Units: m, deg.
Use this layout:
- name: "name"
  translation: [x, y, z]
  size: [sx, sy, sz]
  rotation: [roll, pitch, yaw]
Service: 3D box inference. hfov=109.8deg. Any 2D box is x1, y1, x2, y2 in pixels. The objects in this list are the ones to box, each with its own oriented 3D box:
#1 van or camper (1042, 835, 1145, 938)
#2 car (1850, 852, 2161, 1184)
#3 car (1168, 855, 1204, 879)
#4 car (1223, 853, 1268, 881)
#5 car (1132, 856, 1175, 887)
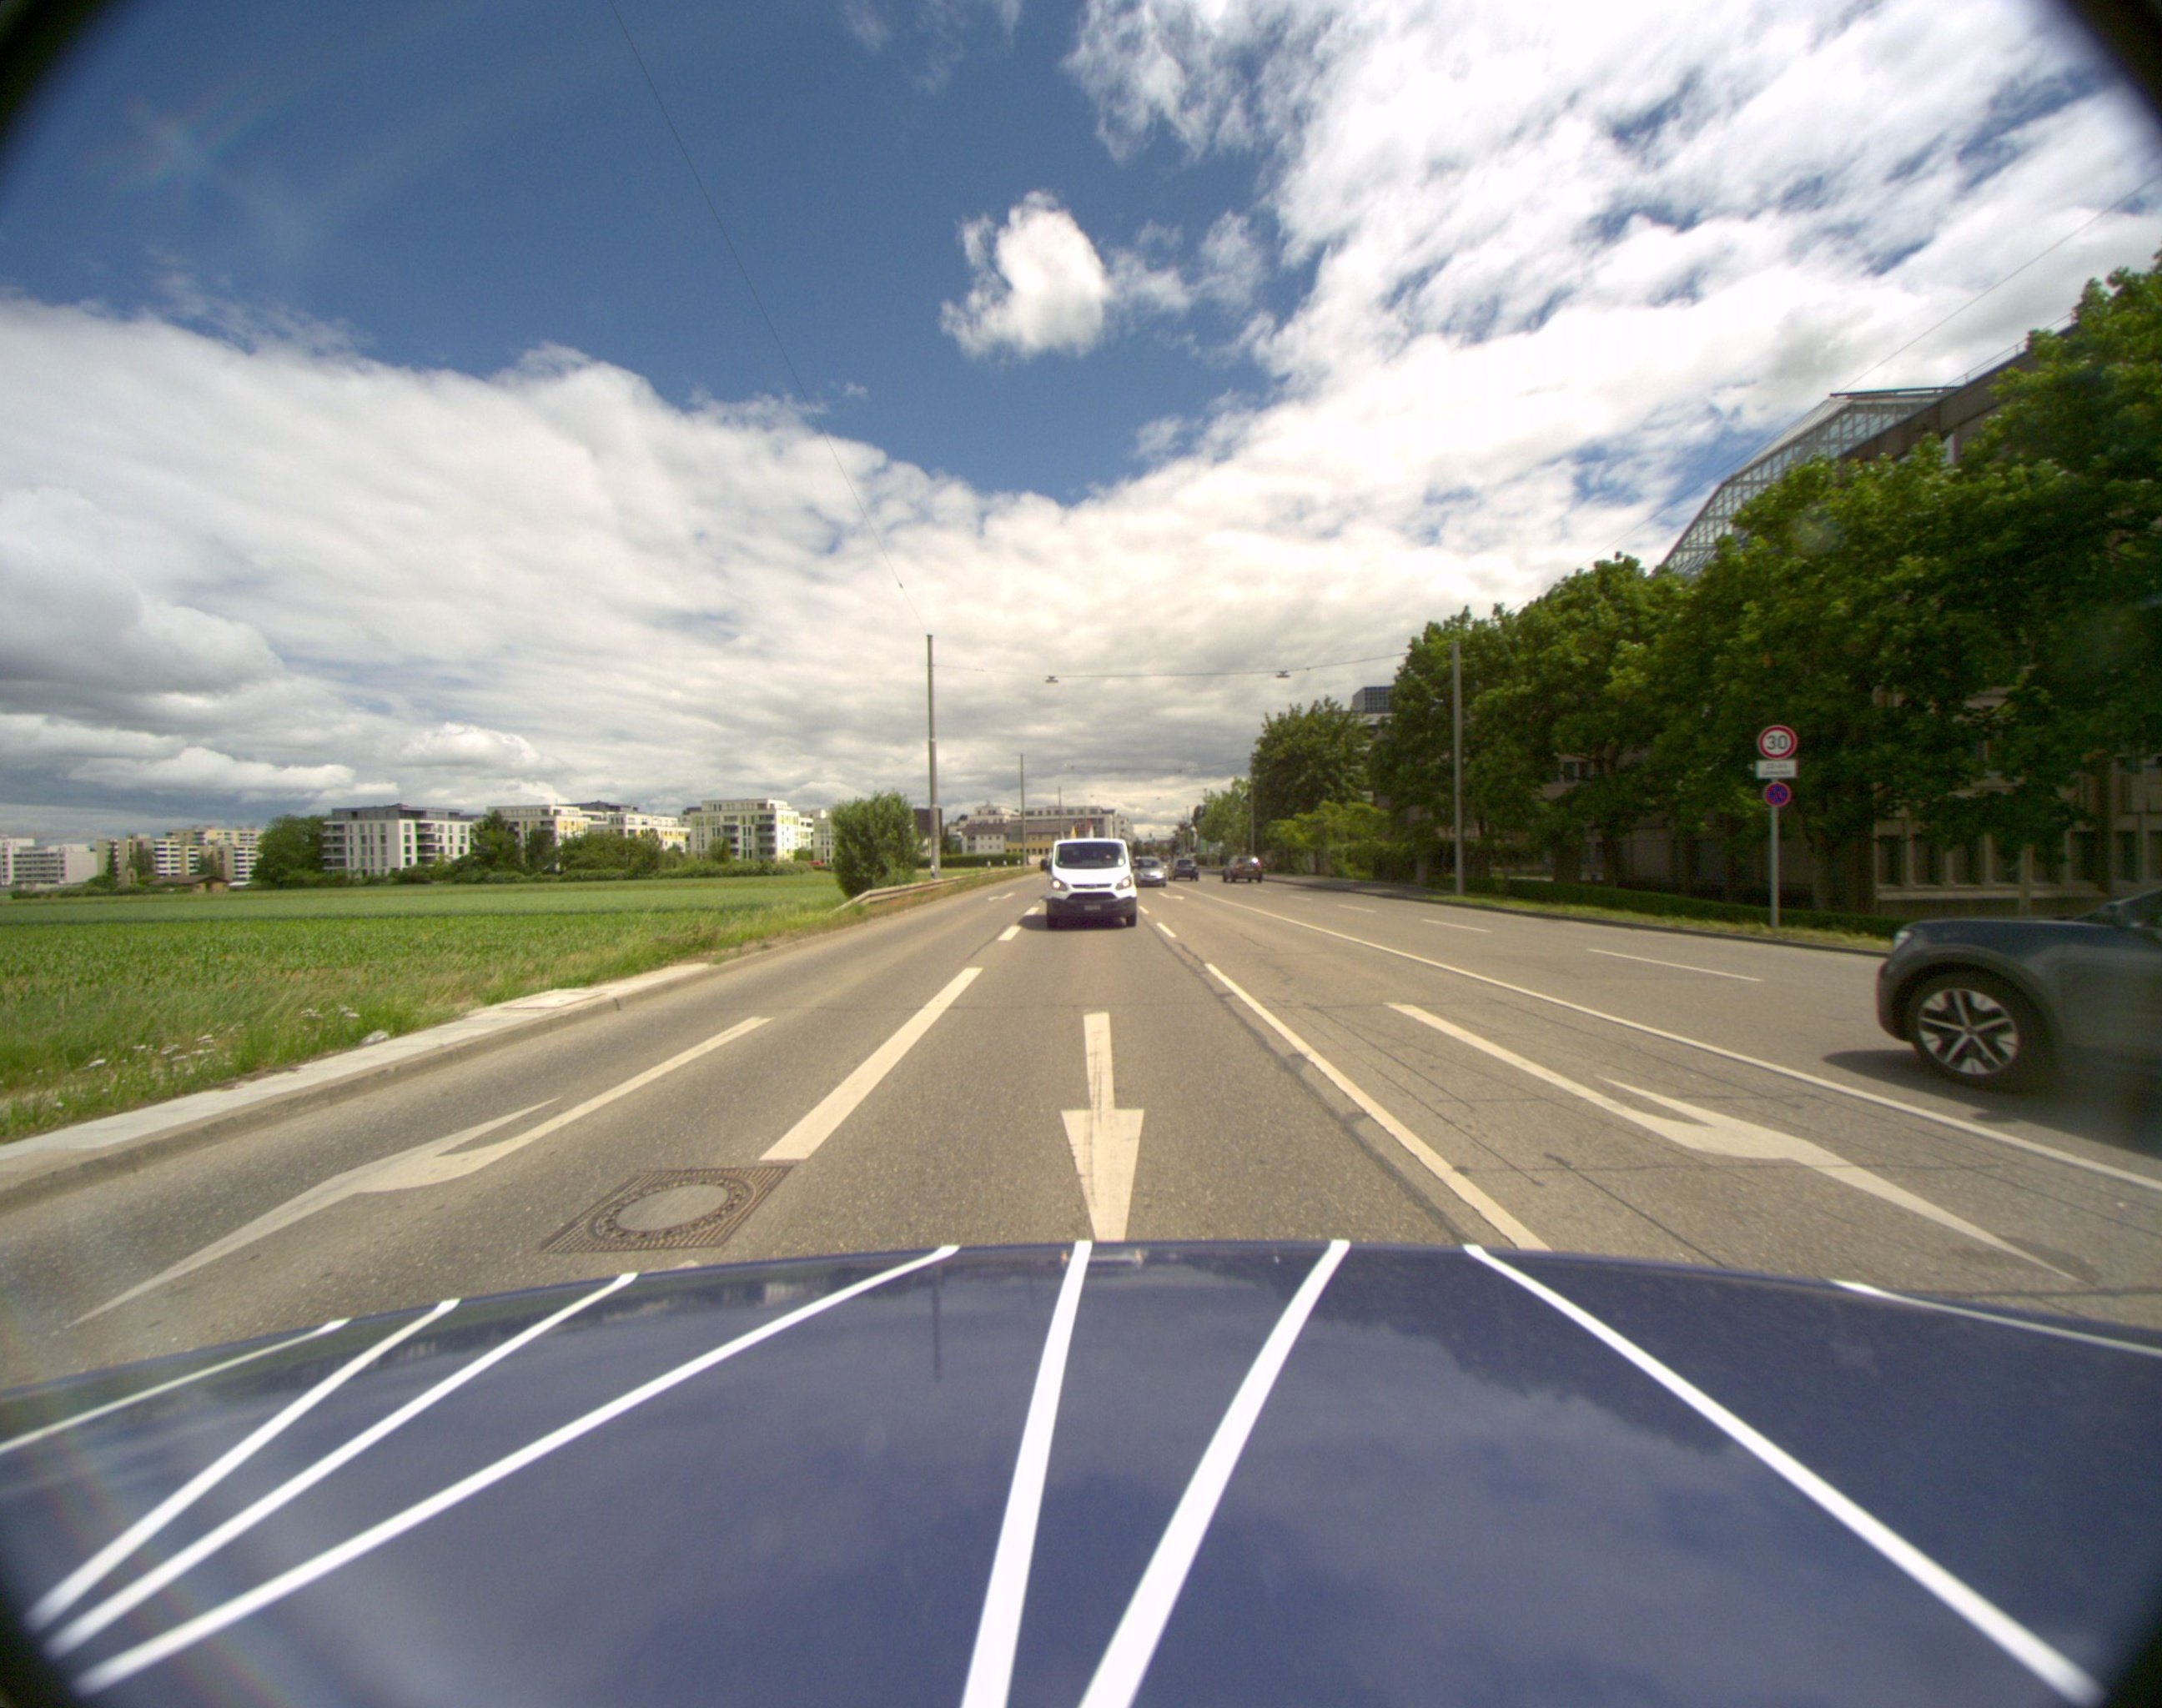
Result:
- name: "van or camper"
  translation: [0.272, 0.649, 18.039]
  size: [1.998, 2.002, 5.799]
  rotation: [-1, 0, 0]
- name: "car"
  translation: [6.348, 0.816, 3.139]
  size: [1.998, 1.608, 4.306]
  rotation: [-1, 0, 0]
- name: "car"
  translation: [6.799, 0.813, 49.432]
  size: [1.800, 1.445, 4.000]
  rotation: [0, 0, 0]
- name: "car"
  translation: [9.992, 0.741, 46.353]
  size: [1.897, 1.587, 4.000]
  rotation: [-1, 0, 1]
- name: "car"
  translation: [3.695, 0.856, 39.265]
  size: [1.894, 1.433, 4.000]
  rotation: [-1, 0, 1]
